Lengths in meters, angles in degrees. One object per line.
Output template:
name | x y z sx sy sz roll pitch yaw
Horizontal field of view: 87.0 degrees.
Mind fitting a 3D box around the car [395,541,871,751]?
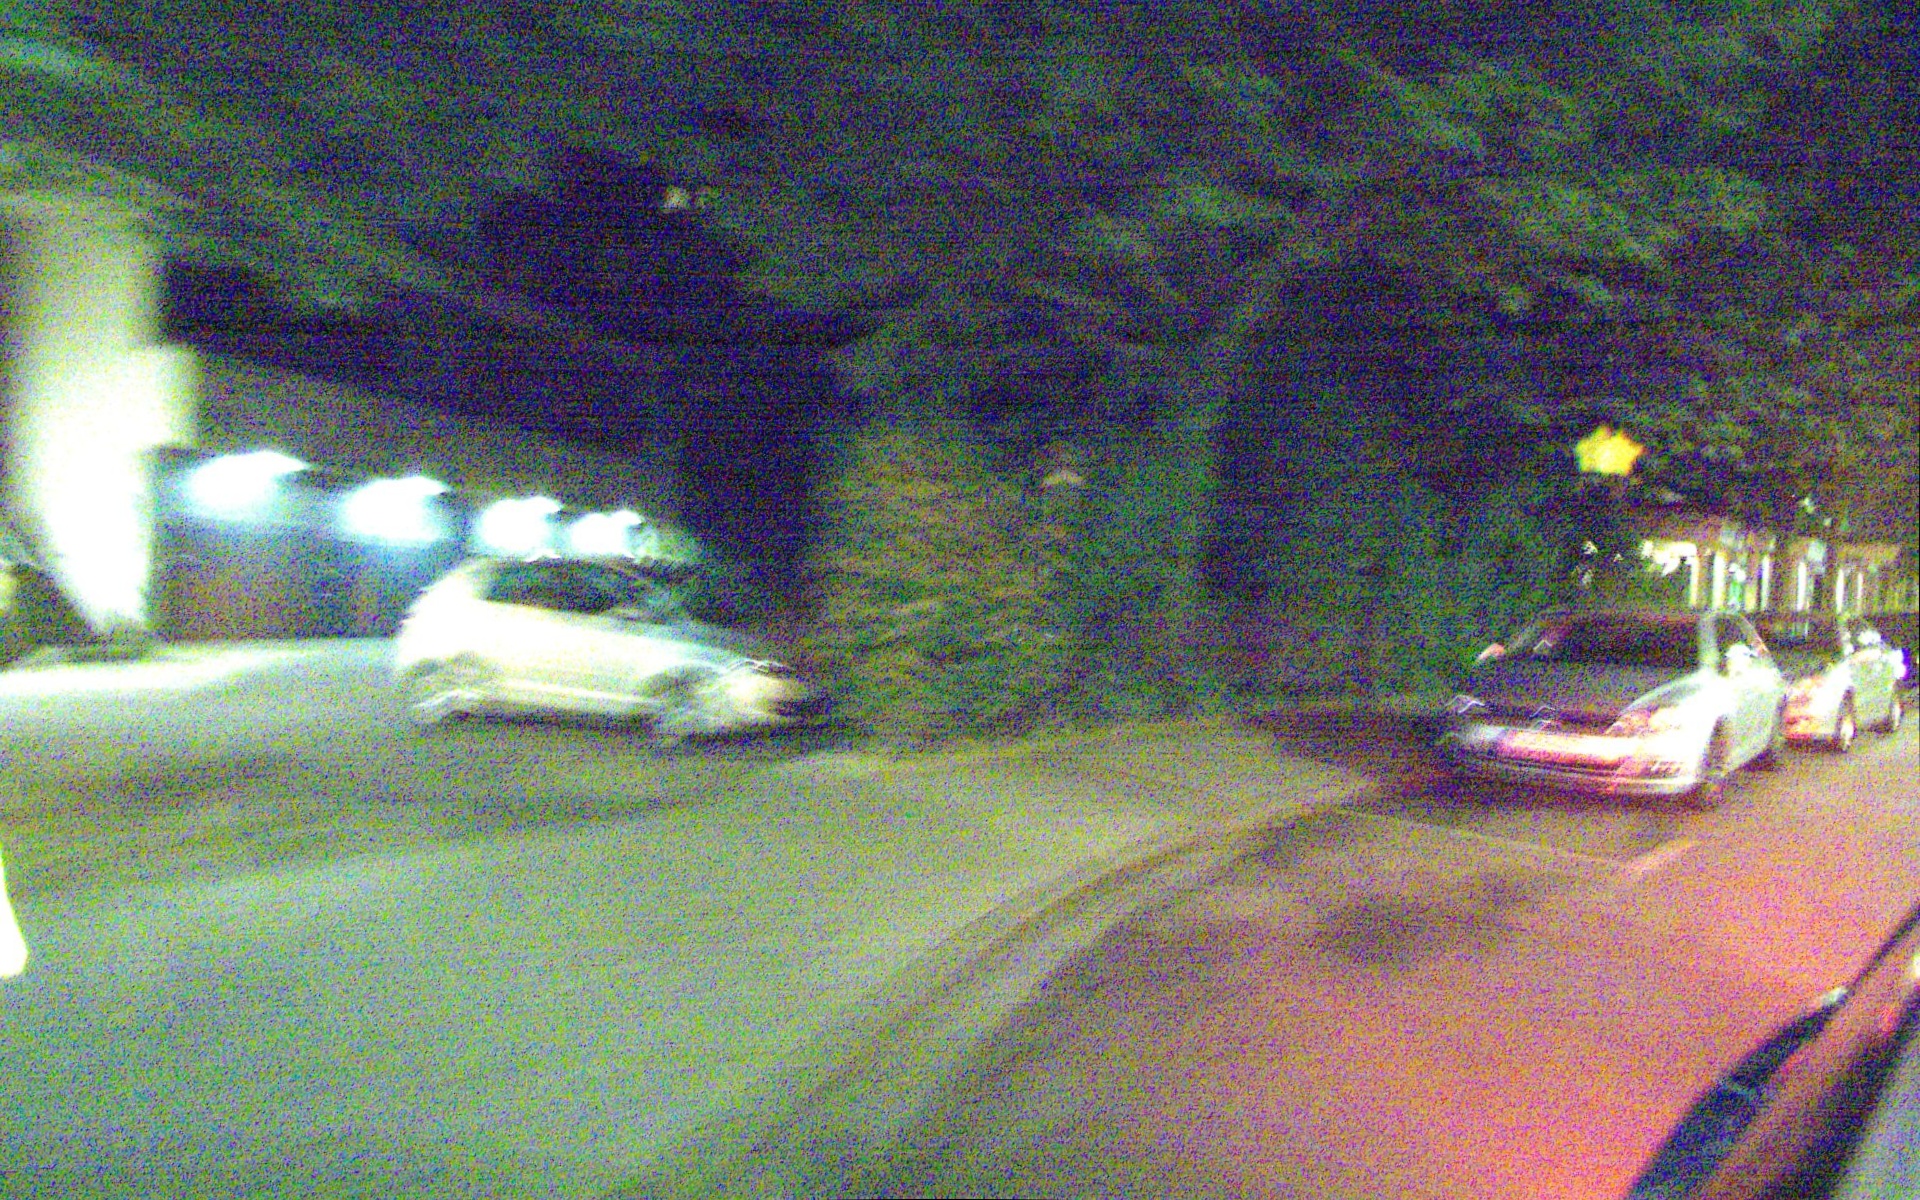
car | -3.009 0.301 9.395 4.017 1.605 1.697 2 2 19

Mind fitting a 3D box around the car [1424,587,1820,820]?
car | 5.654 0.639 8.418 4.216 1.455 1.782 0 0 -43

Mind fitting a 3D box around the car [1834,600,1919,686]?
car | 17.677 0.734 18.782 4.365 1.433 1.764 0 1 -43

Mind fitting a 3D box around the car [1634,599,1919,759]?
car | 9.371 0.721 11.406 4.528 1.465 1.680 0 0 -39

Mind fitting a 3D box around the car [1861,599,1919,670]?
car | 21.503 0.728 22.617 3.711 1.485 1.641 0 0 -42
